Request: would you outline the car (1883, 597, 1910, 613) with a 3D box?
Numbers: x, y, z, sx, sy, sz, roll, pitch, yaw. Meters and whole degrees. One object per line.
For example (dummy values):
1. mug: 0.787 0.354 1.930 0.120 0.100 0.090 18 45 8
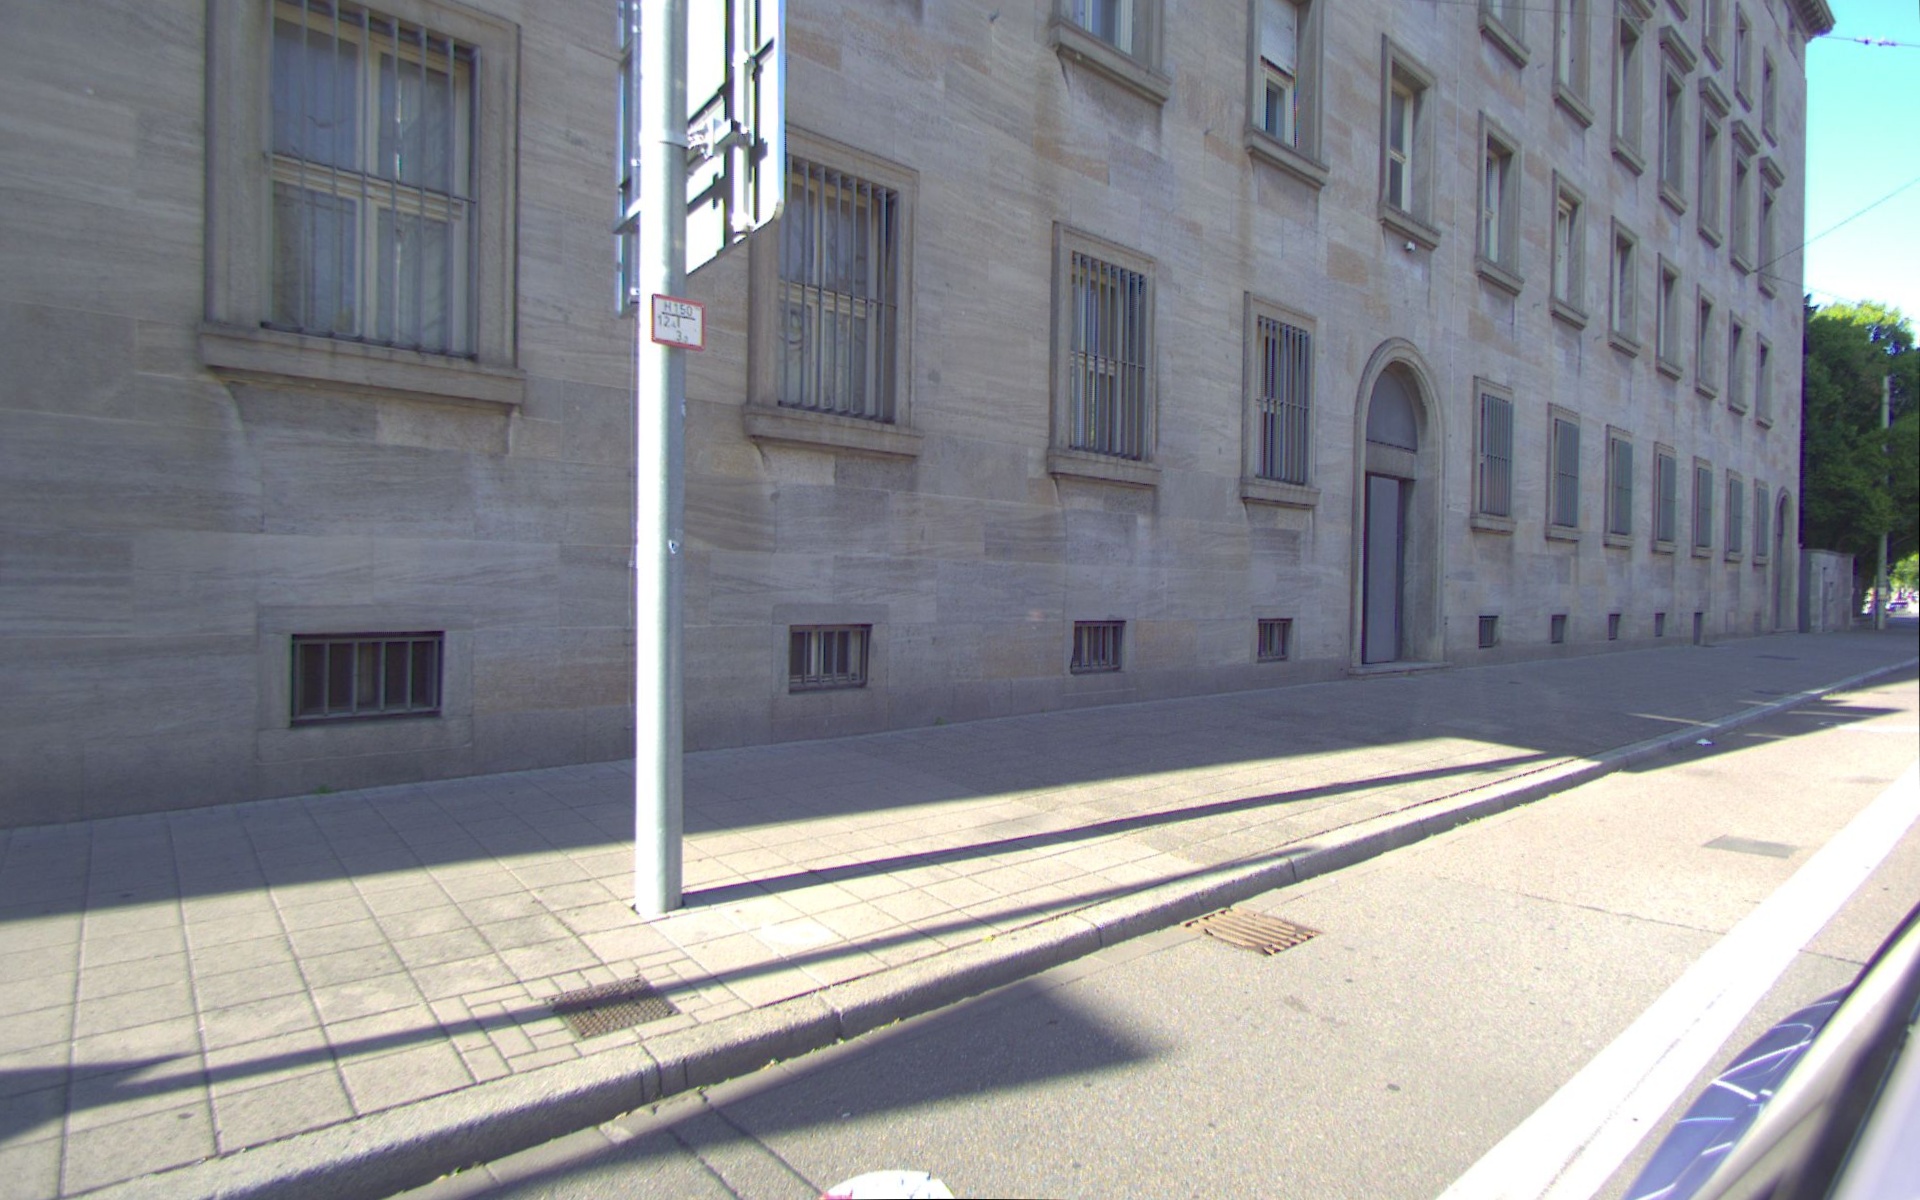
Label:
1. car: 108.249 0.556 117.014 1.991 1.794 3.943 2 1 39
